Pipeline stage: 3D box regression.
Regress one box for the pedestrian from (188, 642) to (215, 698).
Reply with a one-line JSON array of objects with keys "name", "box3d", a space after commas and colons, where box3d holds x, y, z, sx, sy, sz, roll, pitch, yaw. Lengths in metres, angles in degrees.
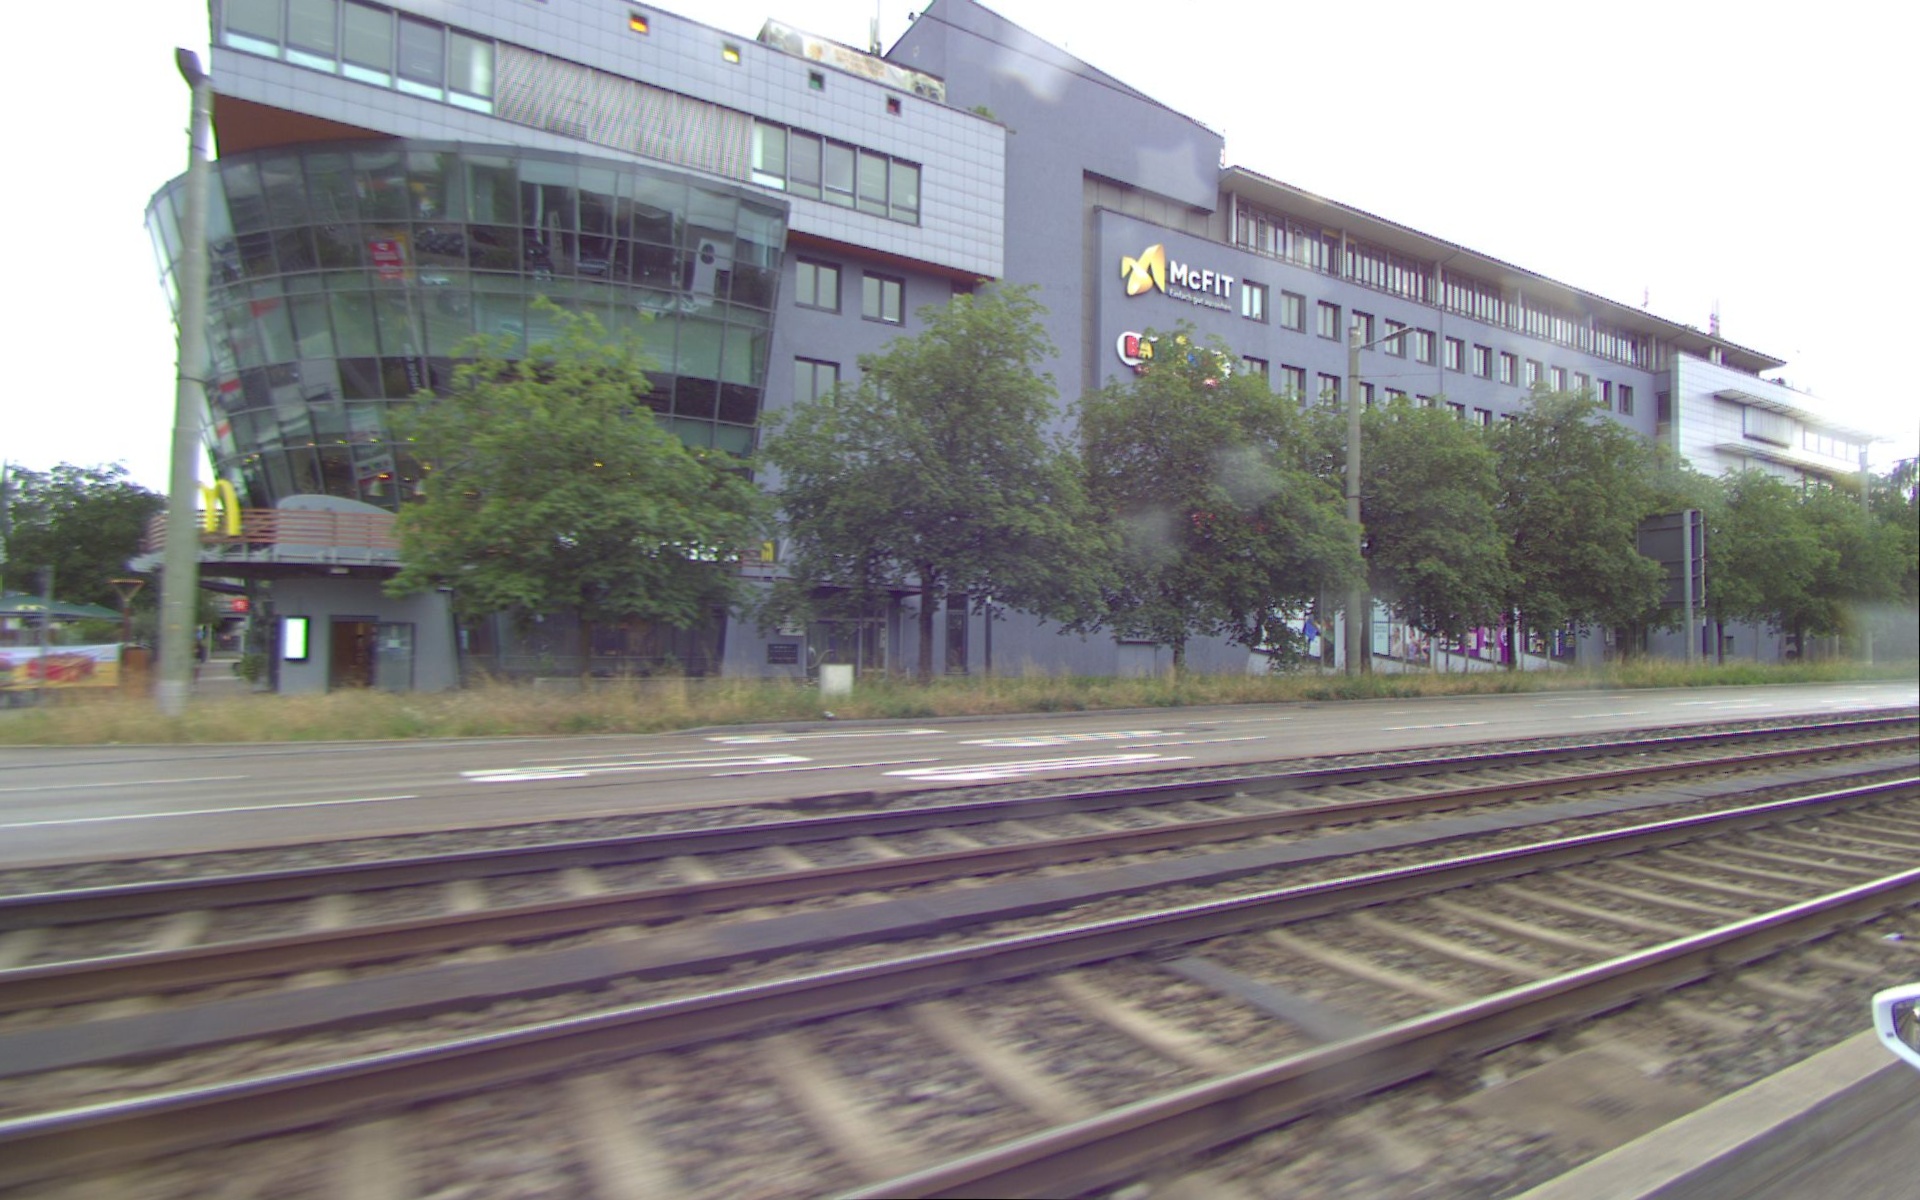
[{"name": "pedestrian", "box3d": [-23.592, 2.172, 31.243, 0.577, 1.701, 0.800, 2, -3, -41]}]
